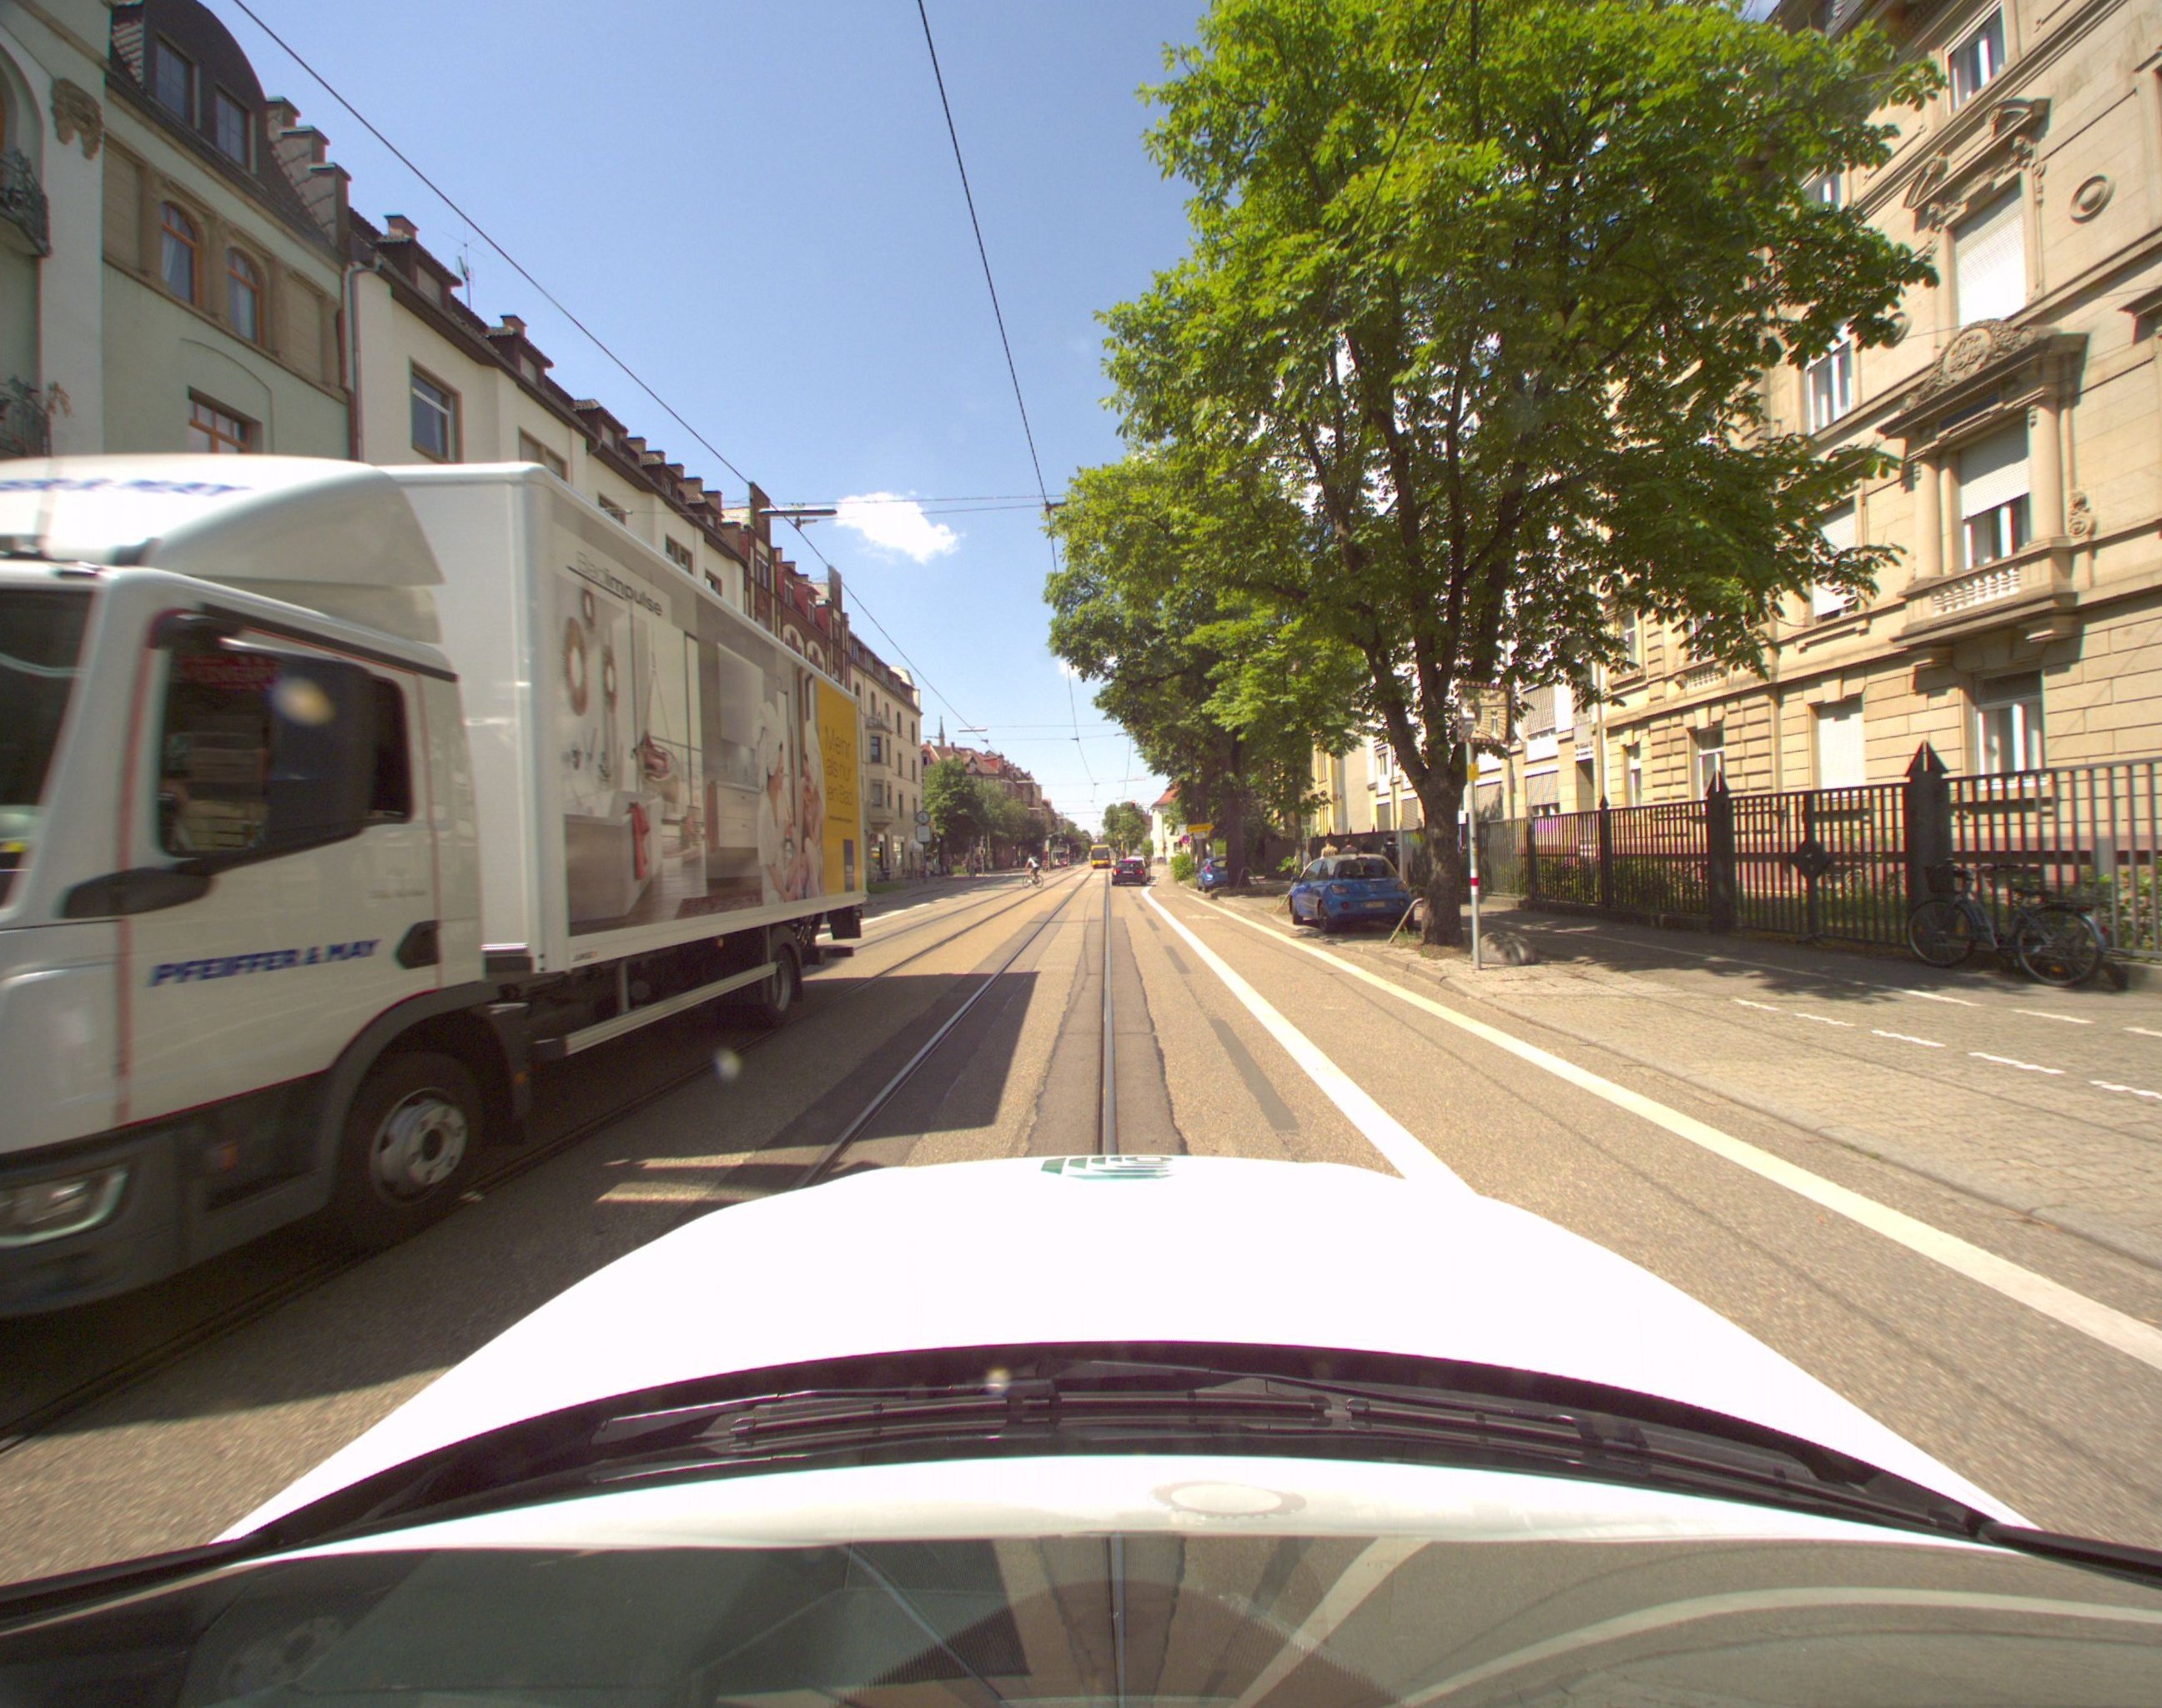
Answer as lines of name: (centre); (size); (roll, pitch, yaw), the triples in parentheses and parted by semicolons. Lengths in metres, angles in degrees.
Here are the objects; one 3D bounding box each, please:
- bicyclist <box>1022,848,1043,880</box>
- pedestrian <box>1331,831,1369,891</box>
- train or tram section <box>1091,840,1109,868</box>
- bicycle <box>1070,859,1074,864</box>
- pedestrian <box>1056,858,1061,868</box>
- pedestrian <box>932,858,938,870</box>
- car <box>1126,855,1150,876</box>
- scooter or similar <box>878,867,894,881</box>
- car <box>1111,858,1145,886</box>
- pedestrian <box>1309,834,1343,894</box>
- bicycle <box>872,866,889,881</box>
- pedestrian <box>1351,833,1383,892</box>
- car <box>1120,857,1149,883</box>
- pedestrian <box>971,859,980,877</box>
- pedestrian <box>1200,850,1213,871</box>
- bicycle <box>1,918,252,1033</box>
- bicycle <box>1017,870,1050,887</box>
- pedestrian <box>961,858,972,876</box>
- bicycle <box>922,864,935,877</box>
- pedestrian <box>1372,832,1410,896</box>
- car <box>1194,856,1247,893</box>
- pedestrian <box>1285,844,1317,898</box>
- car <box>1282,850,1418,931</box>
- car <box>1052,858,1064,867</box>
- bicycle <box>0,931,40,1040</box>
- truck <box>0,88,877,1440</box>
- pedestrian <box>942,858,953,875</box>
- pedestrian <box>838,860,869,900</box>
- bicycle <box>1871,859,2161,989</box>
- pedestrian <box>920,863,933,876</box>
bicyclist: (-2.545, 0.538, 42.965); (0.762, 1.663, 0.821); (1, -1, -41)
pedestrian: (8.191, 0.221, 24.810); (0.784, 1.761, 1.052); (-2, 0, 1)
train or tram section: (2.531, 0.038, 108.382); (2.182, 3.482, 8.848); (-2, 0, 2)
bicycle: (-2.036, 1.704, 177.597); (0.726, 1.101, 1.717); (-2, 0, 3)
pedestrian: (-2.982, 1.177, 108.002); (0.612, 1.243, 0.627); (-2, -1, -4)
pedestrian: (-22.964, 1.595, 128.470); (0.741, 1.811, 0.636); (-2, 0, -24)
car: (4.423, 0.852, 62.522); (1.683, 1.514, 3.828); (0, 0, 6)
scooter or similar: (-14.357, 1.466, 60.060); (0.699, 1.044, 1.196); (0, -1, -39)
car: (2.537, 0.925, 43.635); (1.715, 1.409, 4.569); (0, 0, 4)
pedestrian: (7.480, 0.290, 24.899); (0.702, 1.776, 0.947); (-2, 0, 1)
bicycle: (-14.270, 1.405, 57.995); (0.366, 1.066, 1.473); (-1, -2, 25)
pedestrian: (9.126, 0.271, 26.002); (0.658, 1.811, 0.977); (-2, 0, 2)
car: (3.314, 0.988, 50.615); (1.677, 1.484, 3.688); (-2, 0, 4)
pedestrian: (-10.553, 1.394, 81.495); (0.915, 1.723, 0.838); (-2, 0, -7)
pedestrian: (10.285, 0.510, 66.779); (0.853, 1.645, 0.837); (-2, -1, 2)
bicycle: (-10.326, 1.270, 8.926); (0.605, 0.976, 1.772); (2, 0, 1)
bicycle: (-2.517, 1.276, 42.962); (0.759, 0.817, 1.798); (-1, 2, -42)
pedestrian: (-11.958, 1.346, 85.001); (0.897, 1.891, 1.165); (-1, 0, 1)
bicycle: (-14.325, 1.560, 76.502); (0.547, 1.128, 1.664); (-1, -2, -35)
pedestrian: (9.048, 0.291, 23.817); (0.682, 1.797, 1.084); (-2, 0, 2)
car: (5.959, 0.842, 35.149); (1.671, 1.443, 3.721); (-2, 0, 1)
pedestrian: (7.005, 0.533, 25.968); (0.763, 1.651, 0.975); (-2, 0, 4)
car: (5.411, 0.681, 16.828); (1.685, 1.453, 3.474); (-2, 0, 1)
car: (-3.874, 1.367, 139.460); (1.816, 1.413, 4.430); (-2, 0, 2)
bicycle: (-10.463, 1.249, 7.065); (0.605, 0.989, 1.708); (2, 0, 1)
truck: (-4.014, -0.209, 6.272); (2.777, 3.619, 8.252); (-2, 0, -1)
pedestrian: (-13.312, 1.231, 81.316); (0.857, 1.635, 1.026); (-2, 0, 1)
pedestrian: (-9.143, 1.041, 32.703); (0.897, 1.542, 0.984); (-2, 0, 1)
bicycle: (8.880, 0.600, 7.882); (0.605, 1.071, 1.982); (-2, 0, 4)
pedestrian: (-13.860, 1.388, 72.894); (0.912, 1.077, 0.883); (-2, 0, 3)
